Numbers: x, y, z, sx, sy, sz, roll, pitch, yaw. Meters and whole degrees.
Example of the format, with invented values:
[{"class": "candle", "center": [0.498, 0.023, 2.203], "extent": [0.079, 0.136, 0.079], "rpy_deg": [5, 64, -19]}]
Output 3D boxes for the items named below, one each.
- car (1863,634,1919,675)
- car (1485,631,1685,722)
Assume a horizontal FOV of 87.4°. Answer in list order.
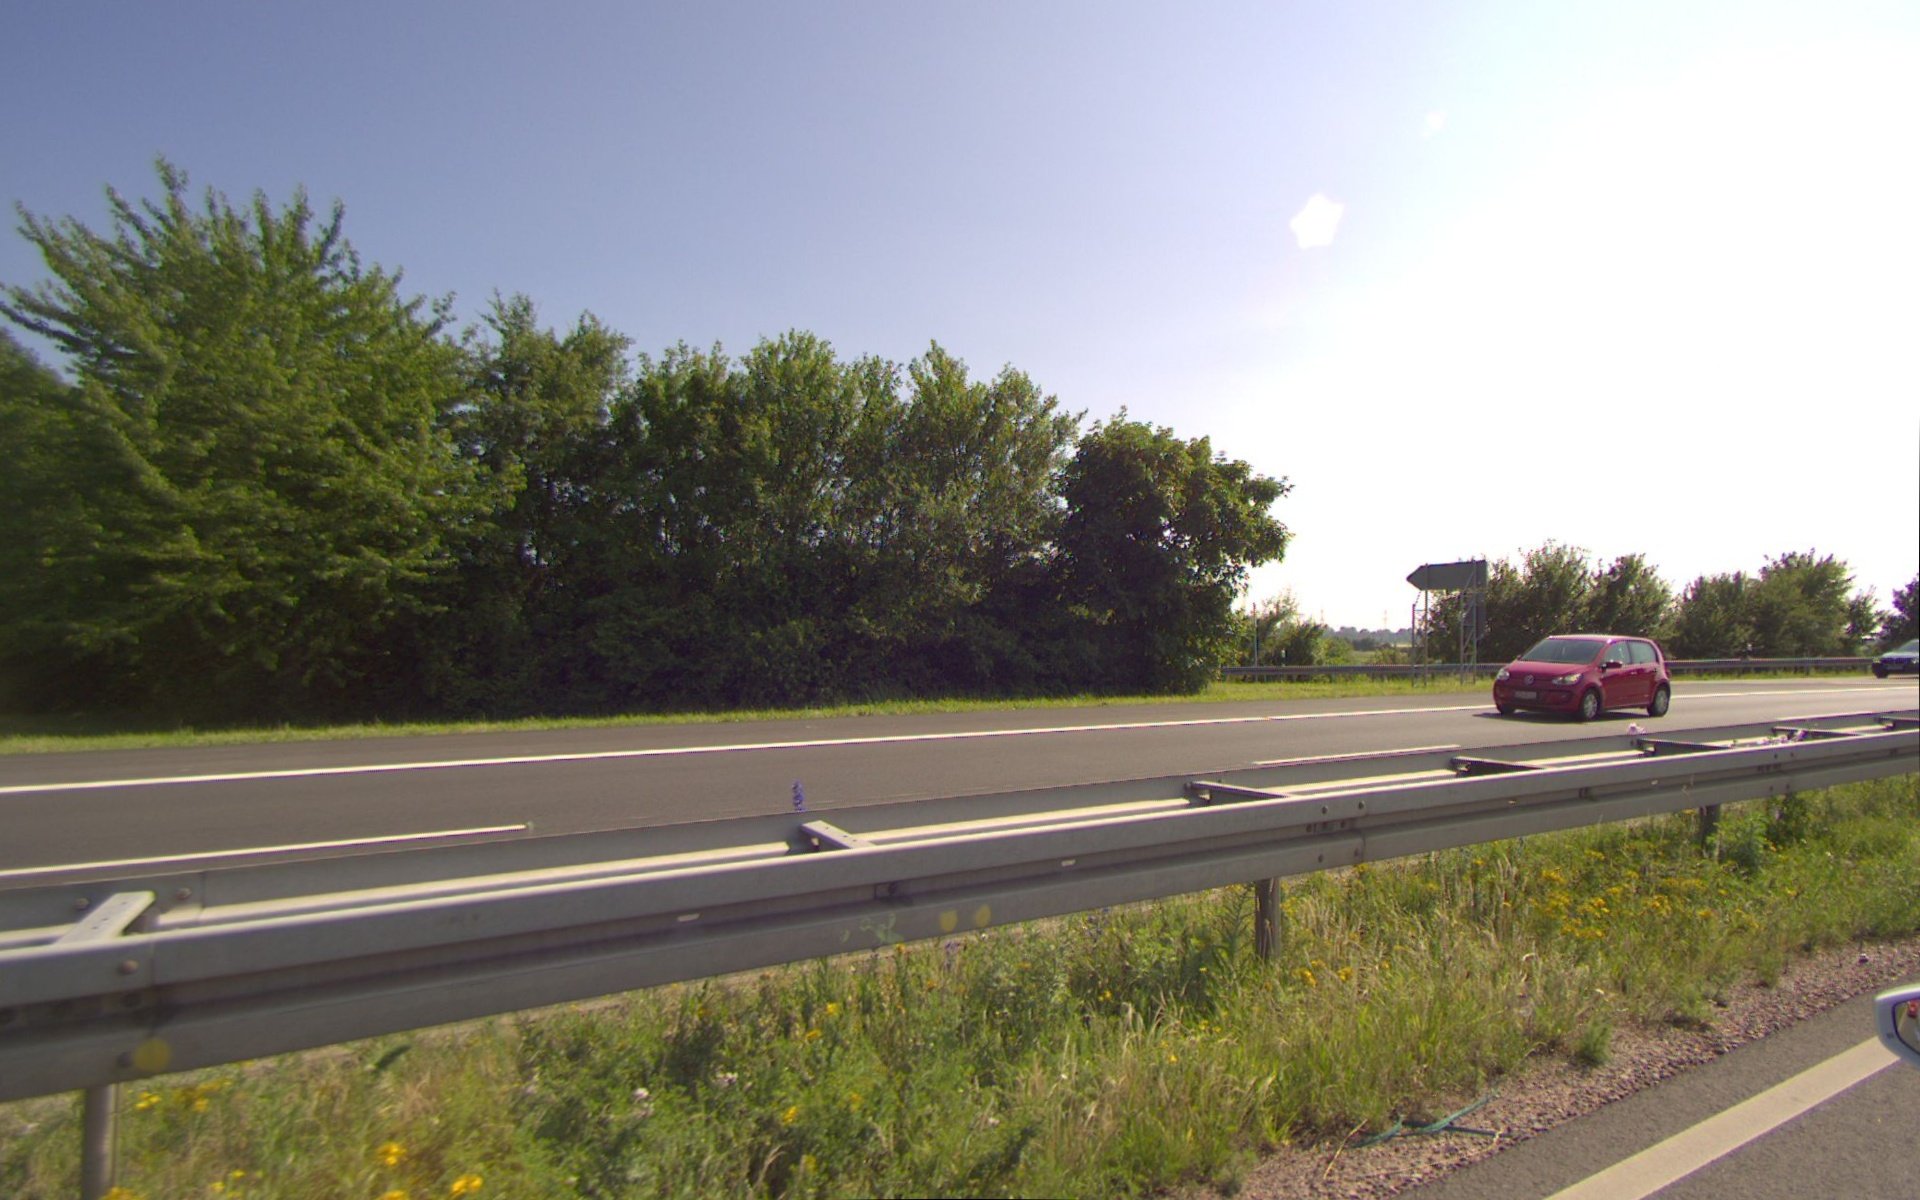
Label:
[{"class": "car", "center": [37.540, 2.118, 38.988], "extent": [4.740, 1.513, 1.592], "rpy_deg": [1, -5, -20]}, {"class": "car", "center": [11.634, 1.347, 18.668], "extent": [3.723, 1.477, 1.621], "rpy_deg": [0, -1, -30]}]
